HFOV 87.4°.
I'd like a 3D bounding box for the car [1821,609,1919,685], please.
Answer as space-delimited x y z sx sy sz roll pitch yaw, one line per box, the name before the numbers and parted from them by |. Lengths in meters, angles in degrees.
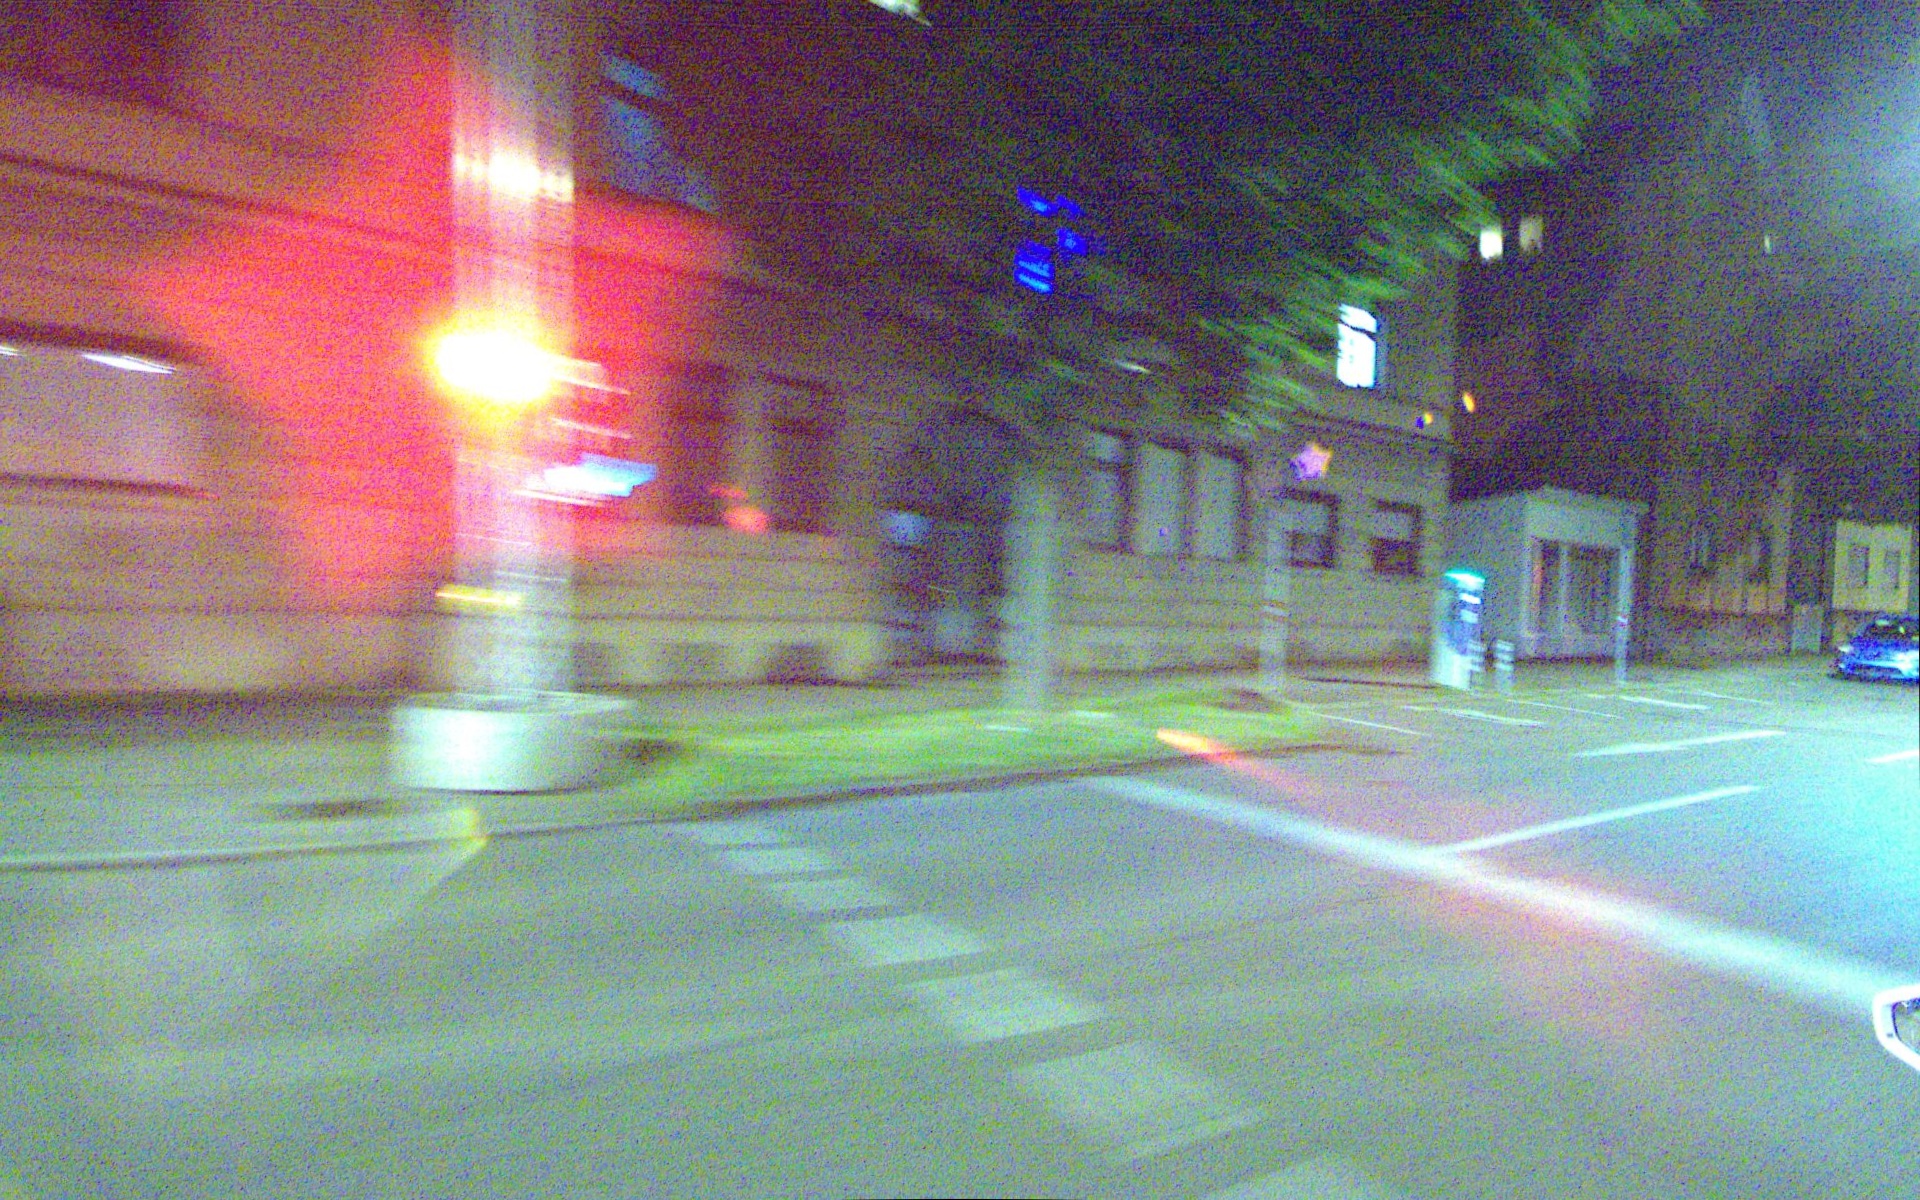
car | 21.309 1.025 22.738 3.948 1.514 1.703 1 2 -34
